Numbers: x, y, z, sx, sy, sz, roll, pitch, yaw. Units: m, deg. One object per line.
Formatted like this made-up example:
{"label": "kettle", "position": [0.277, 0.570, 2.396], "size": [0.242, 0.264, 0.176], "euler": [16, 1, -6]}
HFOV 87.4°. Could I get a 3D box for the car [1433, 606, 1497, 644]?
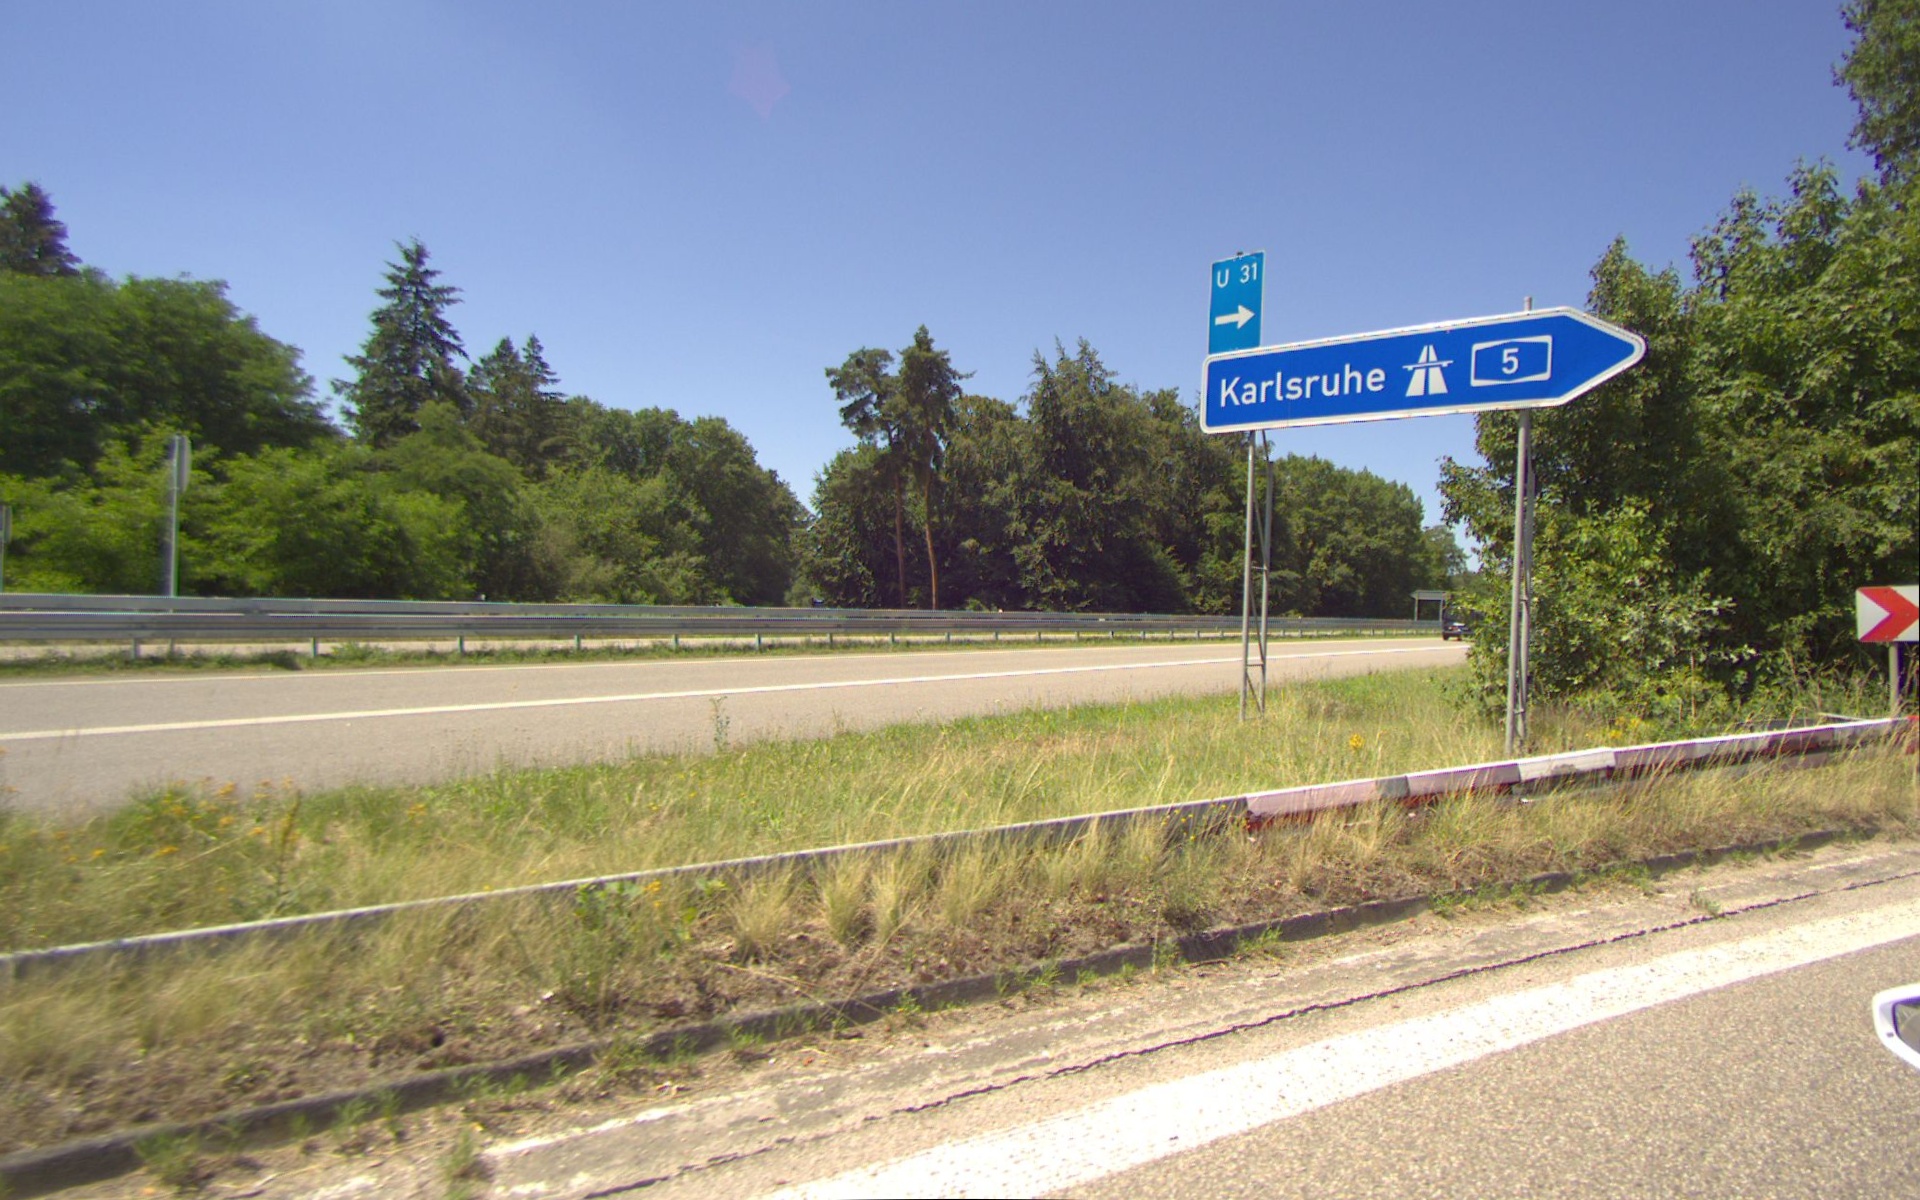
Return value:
{"label": "car", "position": [27.122, 1.325, 53.865], "size": [1.832, 1.912, 5.547], "euler": [0, -1, 40]}
